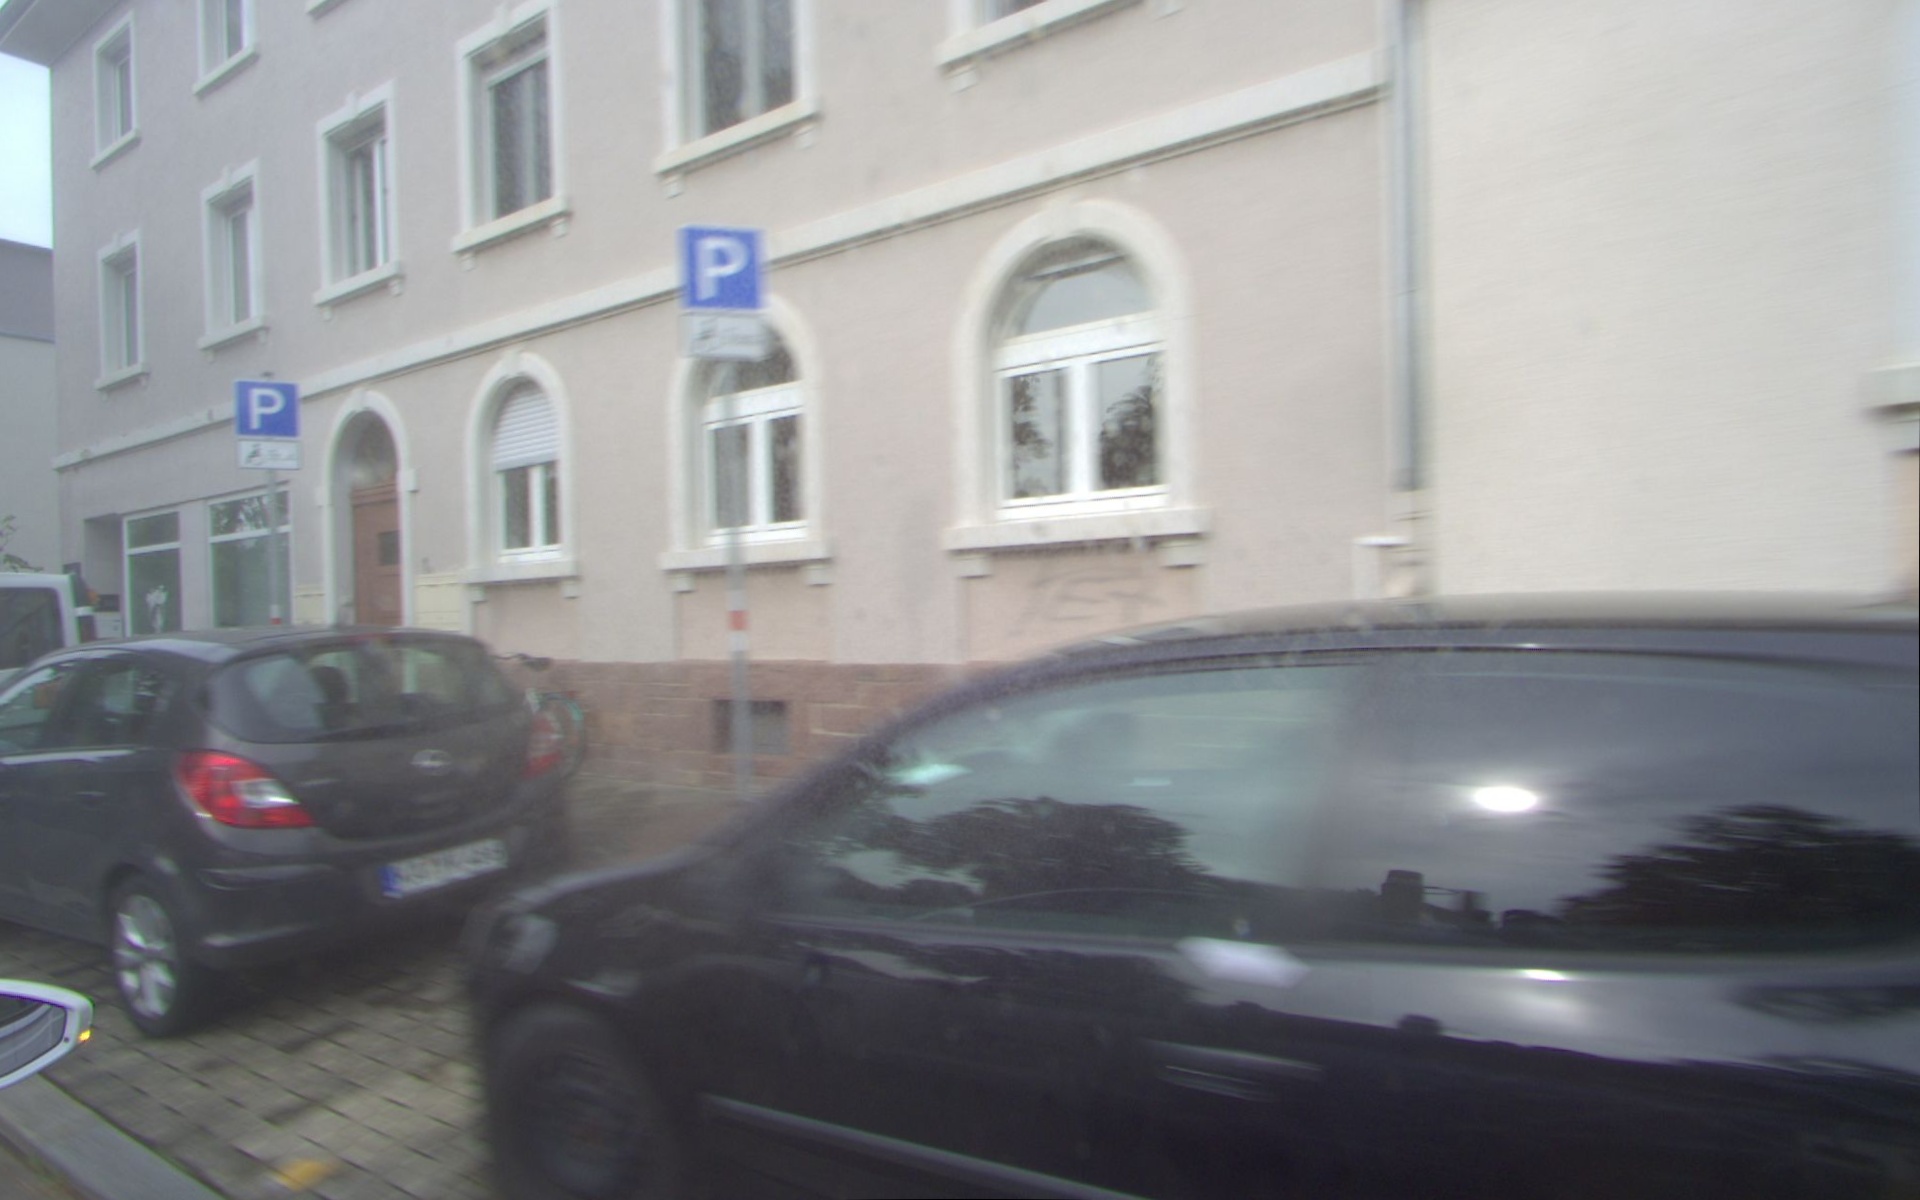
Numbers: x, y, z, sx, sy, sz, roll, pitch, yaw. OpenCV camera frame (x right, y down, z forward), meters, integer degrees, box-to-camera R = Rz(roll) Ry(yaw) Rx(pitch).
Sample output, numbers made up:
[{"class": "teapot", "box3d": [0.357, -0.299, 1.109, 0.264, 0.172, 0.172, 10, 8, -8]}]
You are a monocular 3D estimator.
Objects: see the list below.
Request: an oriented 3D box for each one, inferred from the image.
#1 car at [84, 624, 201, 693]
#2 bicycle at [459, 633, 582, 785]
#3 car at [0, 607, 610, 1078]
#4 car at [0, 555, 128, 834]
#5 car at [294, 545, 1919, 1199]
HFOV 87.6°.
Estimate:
[{"class": "car", "box3d": [-22.788, 1.554, 27.861, 4.022, 1.720, 1.901, -1, 0, 42]}, {"class": "bicycle", "box3d": [-3.701, 0.894, 8.409, 1.139, 1.198, 0.318, -2, 0, 31]}, {"class": "car", "box3d": [-3.765, 0.851, 4.941, 3.843, 1.474, 1.685, -2, 2, 30]}, {"class": "car", "box3d": [-9.143, 0.749, 8.402, 4.942, 2.022, 1.874, -2, 1, 33]}, {"class": "car", "box3d": [0.508, 0.683, 2.297, 4.480, 1.474, 1.683, -2, 2, 33]}]
